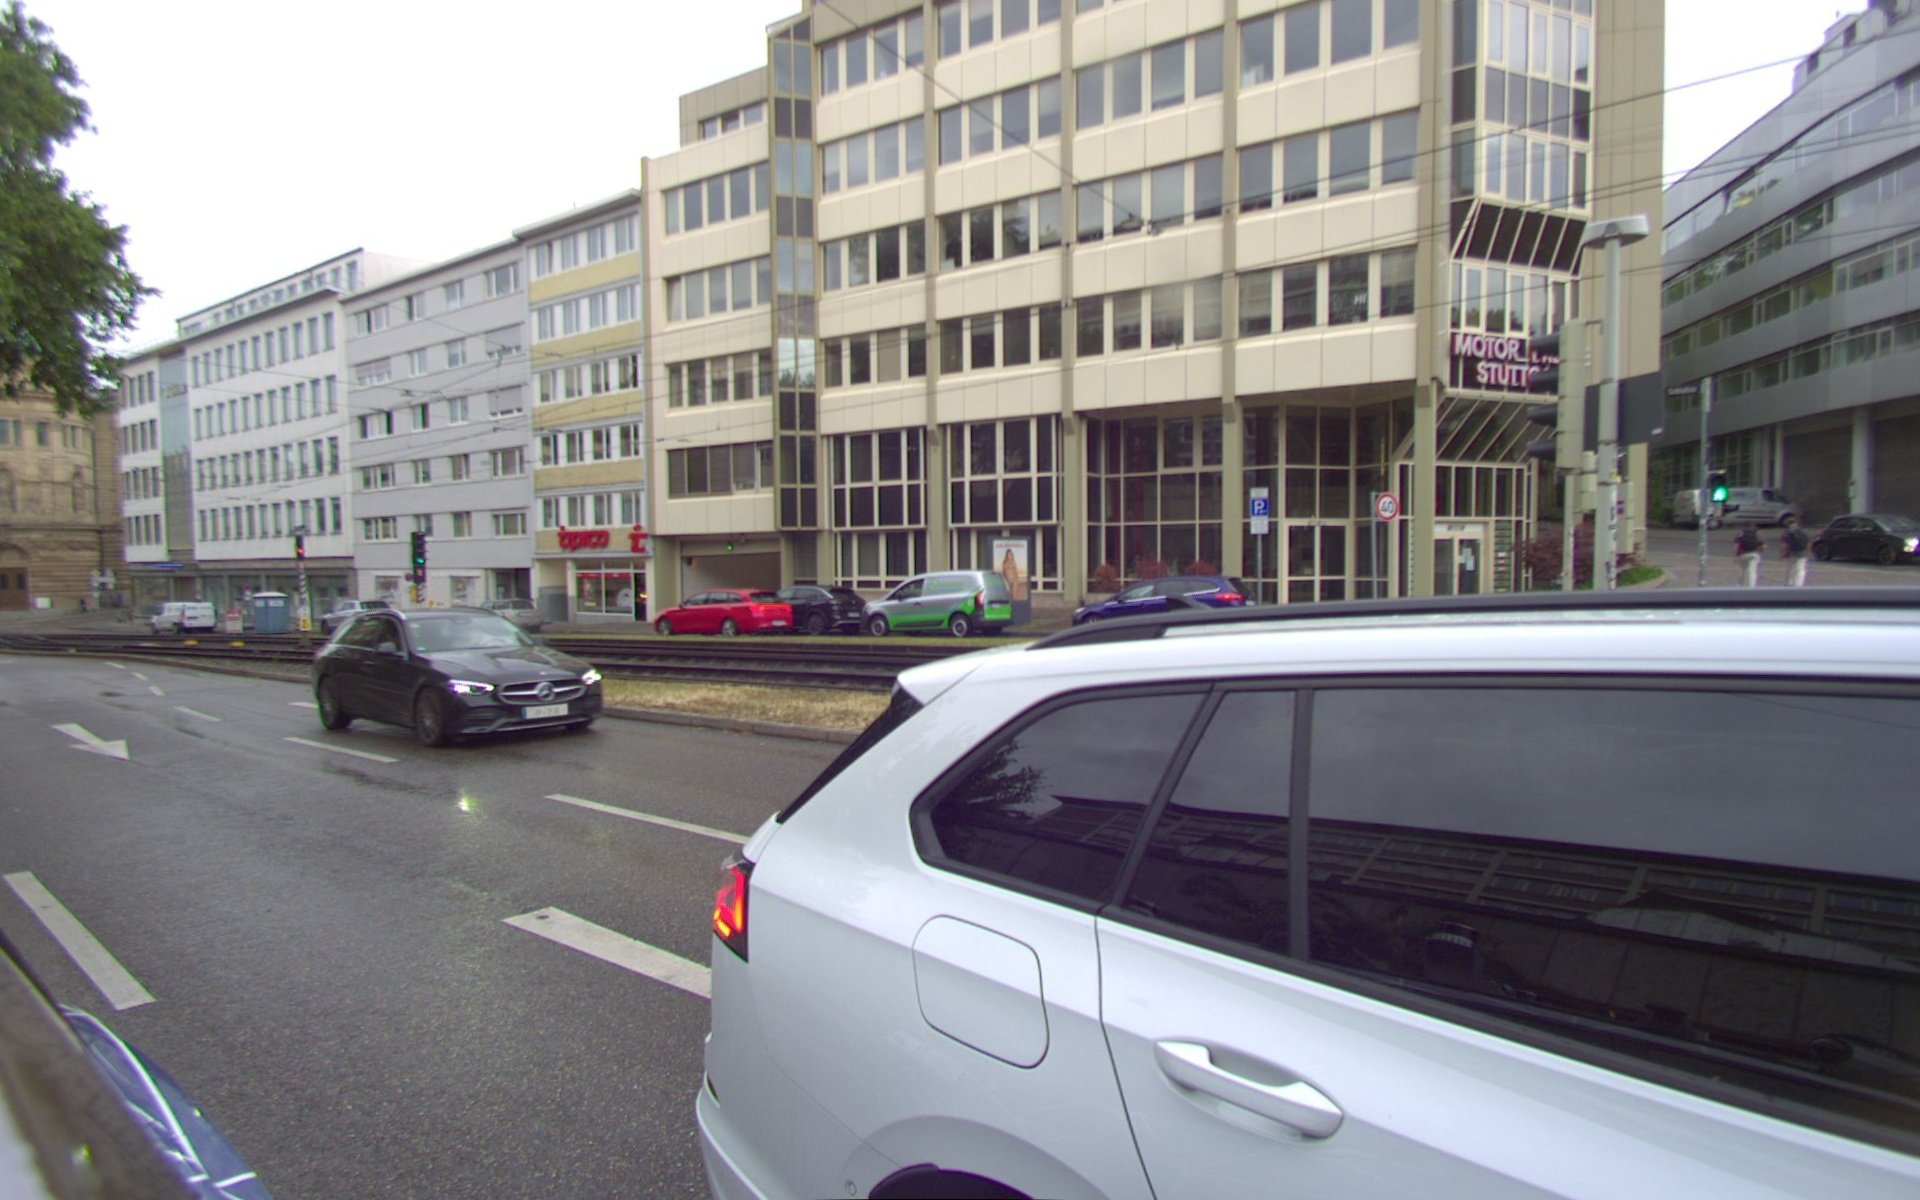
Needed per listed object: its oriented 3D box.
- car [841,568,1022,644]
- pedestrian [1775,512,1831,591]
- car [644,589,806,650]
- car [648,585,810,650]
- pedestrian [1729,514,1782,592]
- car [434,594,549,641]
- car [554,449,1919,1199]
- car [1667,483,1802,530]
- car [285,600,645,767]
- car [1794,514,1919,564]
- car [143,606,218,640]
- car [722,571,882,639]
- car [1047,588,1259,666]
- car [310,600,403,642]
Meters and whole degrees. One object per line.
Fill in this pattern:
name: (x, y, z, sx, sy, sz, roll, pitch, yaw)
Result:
car: (-0.835, 0.125, 28.016, 4.682, 1.863, 1.978, 0, 4, 34)
pedestrian: (19.911, -1.145, 23.921, 0.804, 1.800, 0.637, -1, 3, 18)
car: (-6.652, 0.499, 28.514, 4.315, 1.498, 1.978, 0, 4, 34)
car: (-6.562, 0.449, 28.611, 4.405, 1.652, 1.964, 0, 3, 34)
pedestrian: (19.001, -1.118, 24.181, 0.804, 1.800, 0.637, -1, 3, 18)
car: (-18.931, 0.660, 40.849, 4.682, 1.686, 1.978, 0, 4, 34)
car: (1.337, 0.660, 1.285, 4.251, 1.588, 1.662, -1, 1, 41)
car: (37.339, -4.488, 48.921, 4.779, 2.028, 1.996, -2, 3, 8)
car: (-5.909, 0.847, 11.828, 4.638, 1.478, 1.974, -2, 2, 39)
car: (27.672, -1.838, 30.367, 1.803, 1.374, 4.004, -2, 3, -3)
car: (-46.819, 1.346, 60.765, 5.117, 1.856, 1.978, 0, 4, 34)
car: (-4.865, 0.127, 30.931, 4.682, 1.863, 1.978, 0, 4, 34)
car: (4.543, 0.580, 24.081, 4.536, 1.593, 1.978, 0, 4, 34)
car: (-28.343, 1.004, 47.451, 4.686, 1.686, 1.977, -2, 3, 36)
